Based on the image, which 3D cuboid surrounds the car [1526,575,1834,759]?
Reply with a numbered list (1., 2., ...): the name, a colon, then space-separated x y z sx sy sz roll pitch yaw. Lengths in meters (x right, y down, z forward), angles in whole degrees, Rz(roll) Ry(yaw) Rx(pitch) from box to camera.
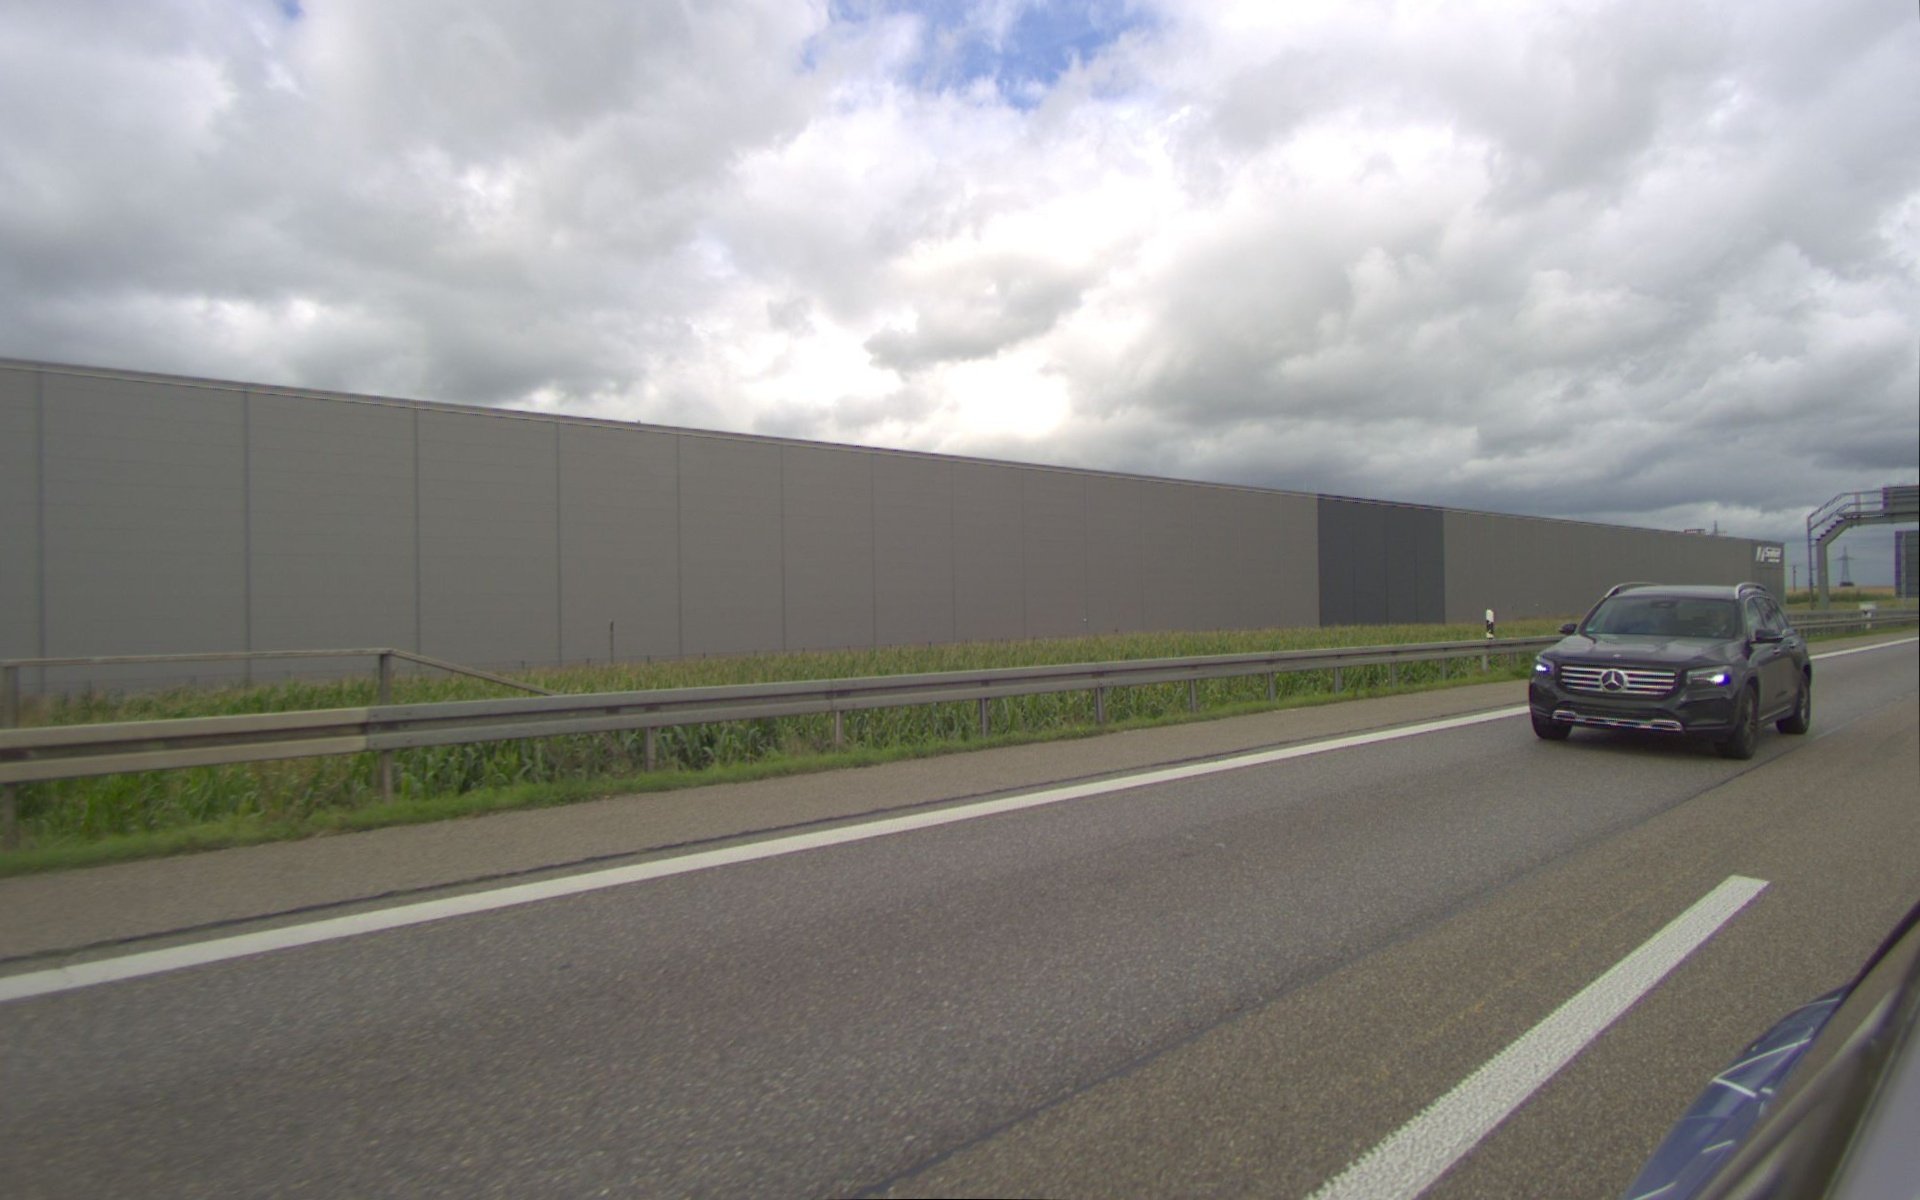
1. car: 7.992 0.549 11.080 4.285 1.629 1.836 -1 1 -41
